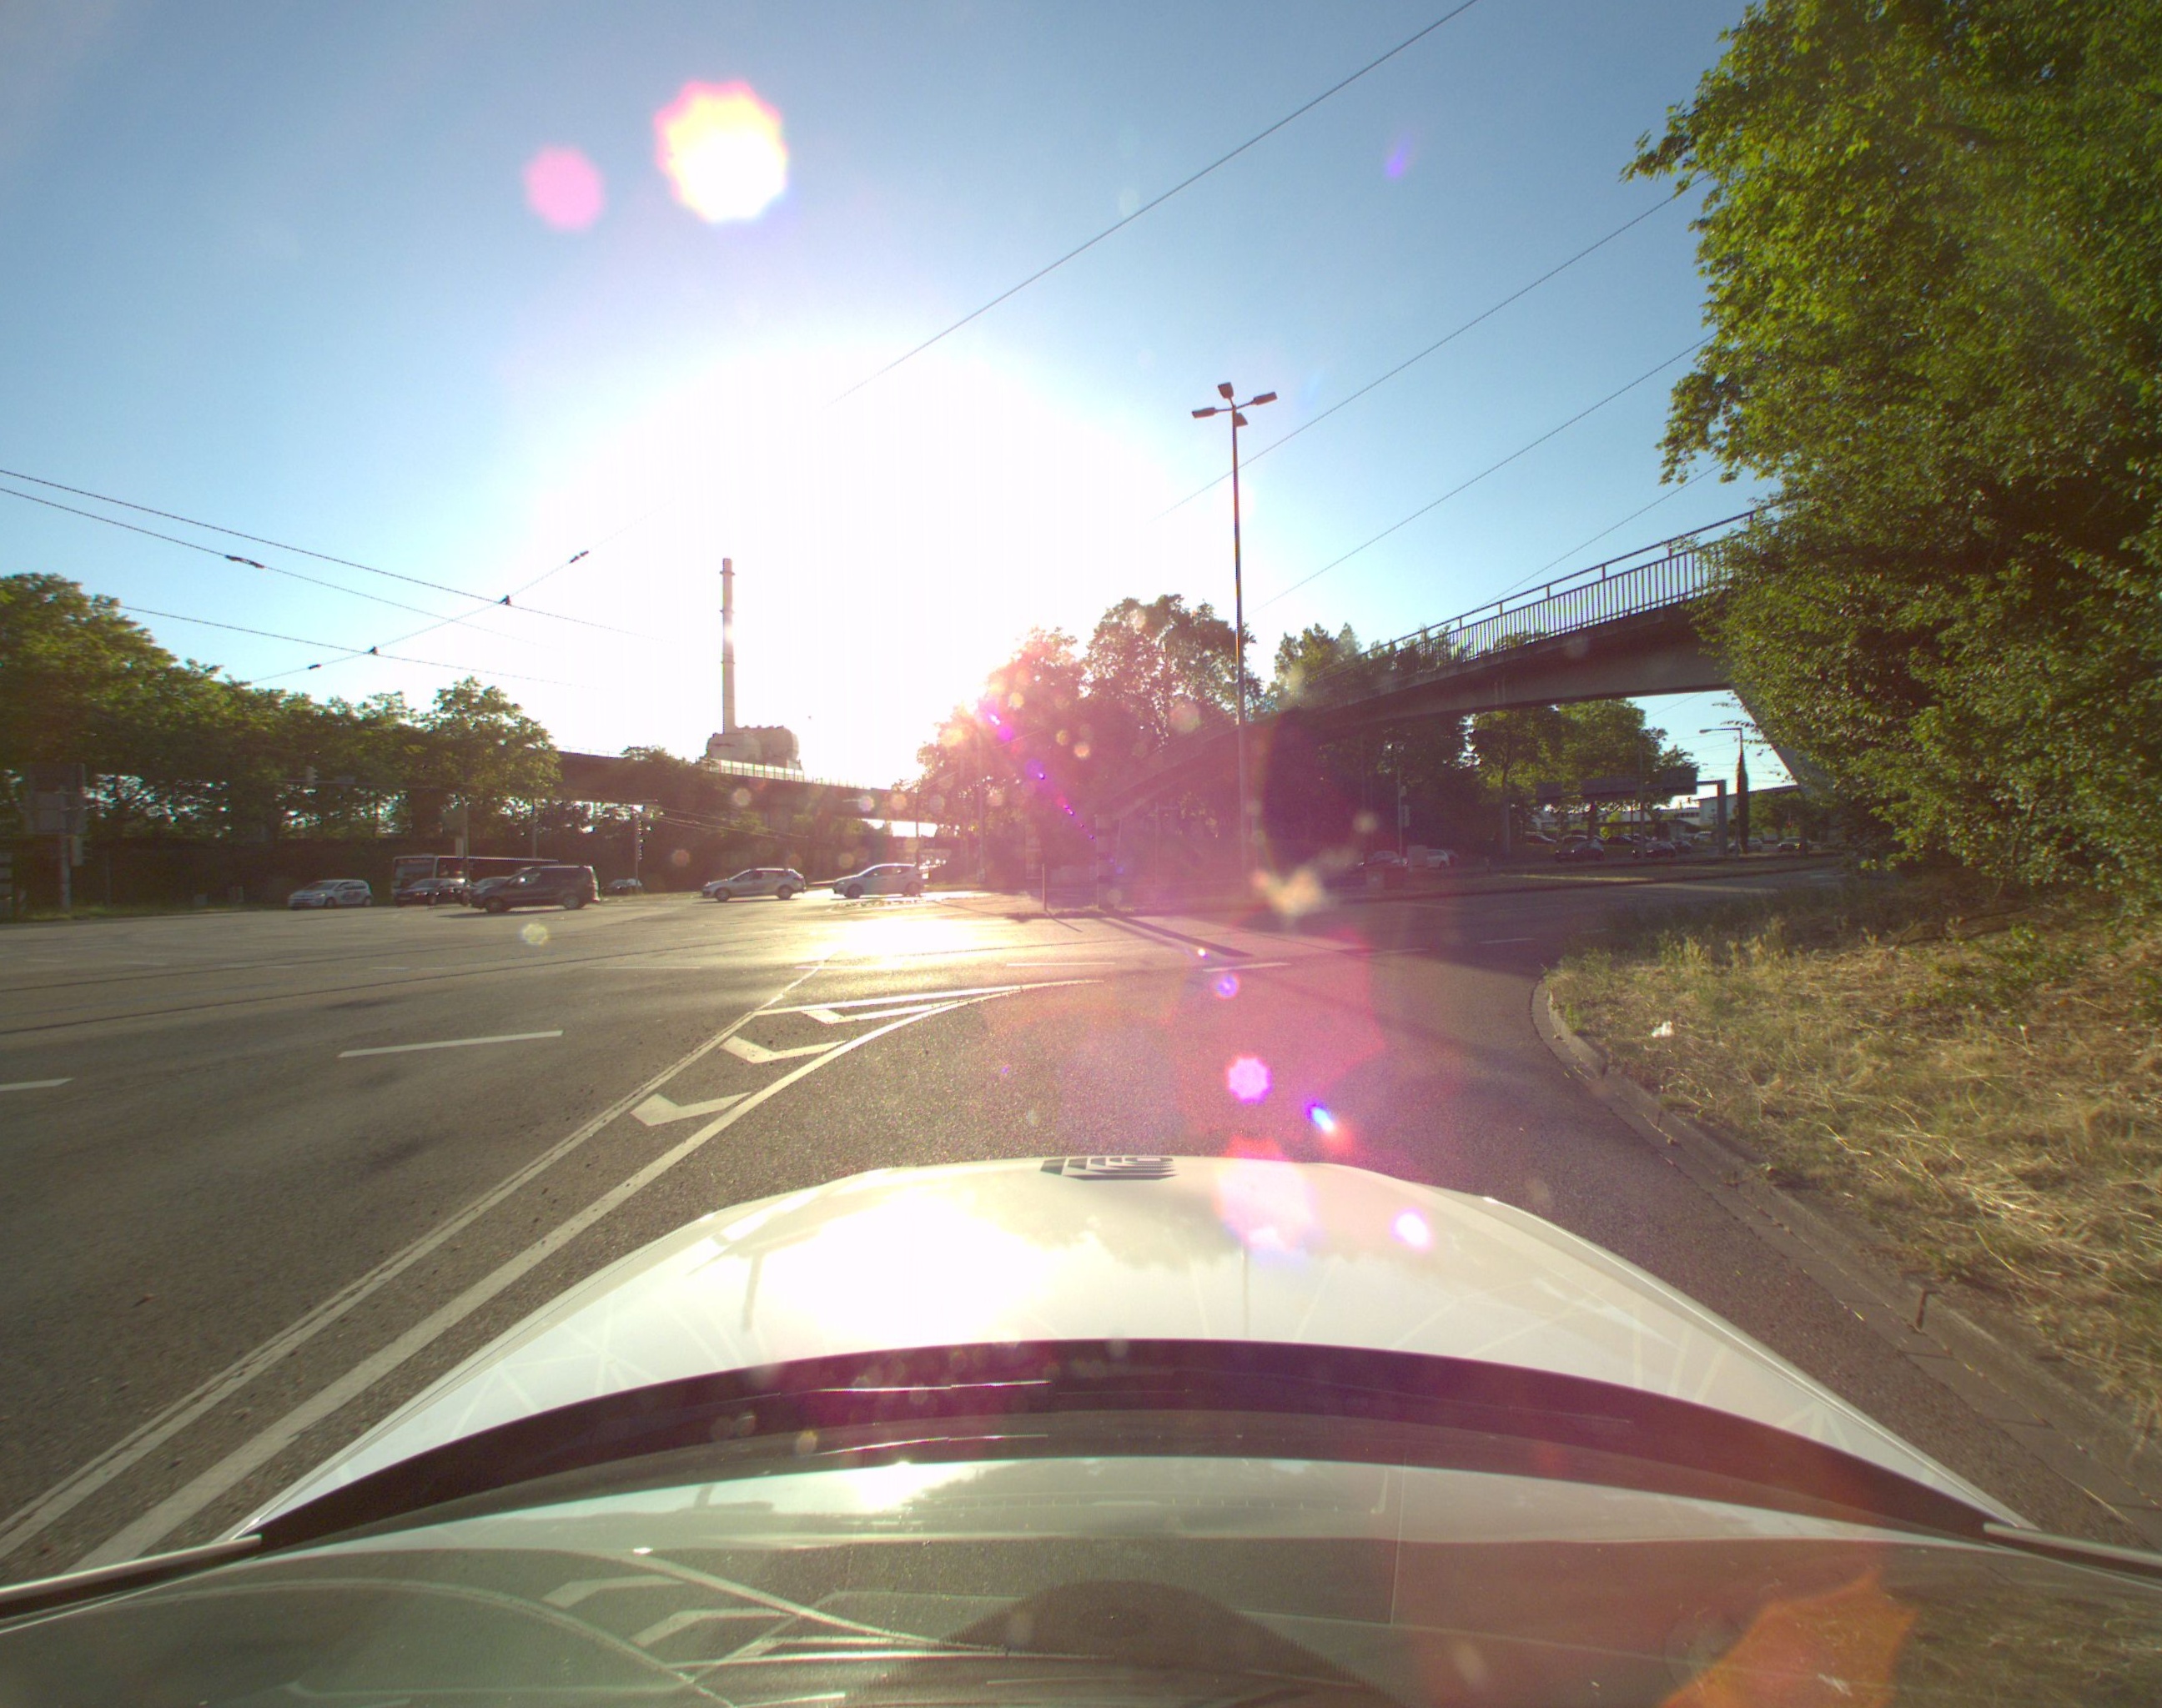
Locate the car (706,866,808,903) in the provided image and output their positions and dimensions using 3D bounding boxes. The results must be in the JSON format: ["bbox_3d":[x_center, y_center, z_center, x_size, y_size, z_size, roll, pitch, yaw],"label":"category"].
[{"bbox_3d":[-15.224,1.382,38.279,4.379,1.609,1.841,0,-1,-26],"label":"car"}]

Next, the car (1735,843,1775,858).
[{"bbox_3d":[69.040,-0.374,83.379,4.450,1.416,1.676,-1,1,-29],"label":"car"}]

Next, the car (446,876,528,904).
[{"bbox_3d":[-31.675,1.890,43.583,1.709,1.354,4.085,-1,-1,-7],"label":"car"}]

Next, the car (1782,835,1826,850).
[{"bbox_3d":[67.705,-1.070,76.252,4.028,1.416,1.828,-1,0,-28],"label":"car"}]

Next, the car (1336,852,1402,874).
[{"bbox_3d":[20.022,0.590,56.609,4.263,1.443,1.994,-1,0,-28],"label":"car"}]

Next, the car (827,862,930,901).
[{"bbox_3d":[-9.278,1.222,37.302,4.316,1.609,1.841,0,-1,-26],"label":"car"}]

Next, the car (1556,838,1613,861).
[{"bbox_3d":[38.565,-0.338,62.383,4.368,1.650,1.780,-1,0,-28],"label":"car"}]

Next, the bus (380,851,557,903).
[{"bbox_3d":[-39.277,1.399,53.177,2.818,2.954,12.828,-1,-1,-5],"label":"bus"}]

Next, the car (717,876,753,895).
[{"bbox_3d":[-40.654,3.631,95.857,1.988,2.014,5.421,-1,0,-2],"label":"car"}]

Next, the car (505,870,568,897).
[{"bbox_3d":[-35.259,1.882,52.836,1.709,1.652,4.085,-1,-1,-7],"label":"car"}]

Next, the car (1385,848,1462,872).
[{"bbox_3d":[22.545,0.383,53.565,4.872,1.443,1.994,-1,0,-28],"label":"car"}]

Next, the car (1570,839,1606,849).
[{"bbox_3d":[70.615,-1.403,113.480,1.788,1.387,4.032,-1,1,-27],"label":"car"}]

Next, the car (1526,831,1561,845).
[{"bbox_3d":[67.460,-2.334,118.866,2.004,1.859,3.966,-1,0,-26],"label":"car"}]

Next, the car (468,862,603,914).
[{"bbox_3d":[-21.111,1.264,31.731,4.154,1.867,1.841,0,-1,-26],"label":"car"}]

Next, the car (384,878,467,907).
[{"bbox_3d":[-34.439,1.991,42.896,1.604,1.354,3.987,-1,-1,-9],"label":"car"}]

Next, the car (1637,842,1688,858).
[{"bbox_3d":[49.044,-0.312,68.667,4.319,1.310,1.677,-1,0,-27],"label":"car"}]

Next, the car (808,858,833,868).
[{"bbox_3d":[-47.387,1.679,148.133,1.975,1.771,4.023,-1,-1,25],"label":"car"}]

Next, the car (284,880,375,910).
[{"bbox_3d":[-38.081,2.048,41.394,1.604,1.354,3.722,-1,-1,-9],"label":"car"}]

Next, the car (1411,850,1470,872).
[{"bbox_3d":[28.778,0.588,65.166,4.363,1.651,1.782,-1,-1,-24],"label":"car"}]
